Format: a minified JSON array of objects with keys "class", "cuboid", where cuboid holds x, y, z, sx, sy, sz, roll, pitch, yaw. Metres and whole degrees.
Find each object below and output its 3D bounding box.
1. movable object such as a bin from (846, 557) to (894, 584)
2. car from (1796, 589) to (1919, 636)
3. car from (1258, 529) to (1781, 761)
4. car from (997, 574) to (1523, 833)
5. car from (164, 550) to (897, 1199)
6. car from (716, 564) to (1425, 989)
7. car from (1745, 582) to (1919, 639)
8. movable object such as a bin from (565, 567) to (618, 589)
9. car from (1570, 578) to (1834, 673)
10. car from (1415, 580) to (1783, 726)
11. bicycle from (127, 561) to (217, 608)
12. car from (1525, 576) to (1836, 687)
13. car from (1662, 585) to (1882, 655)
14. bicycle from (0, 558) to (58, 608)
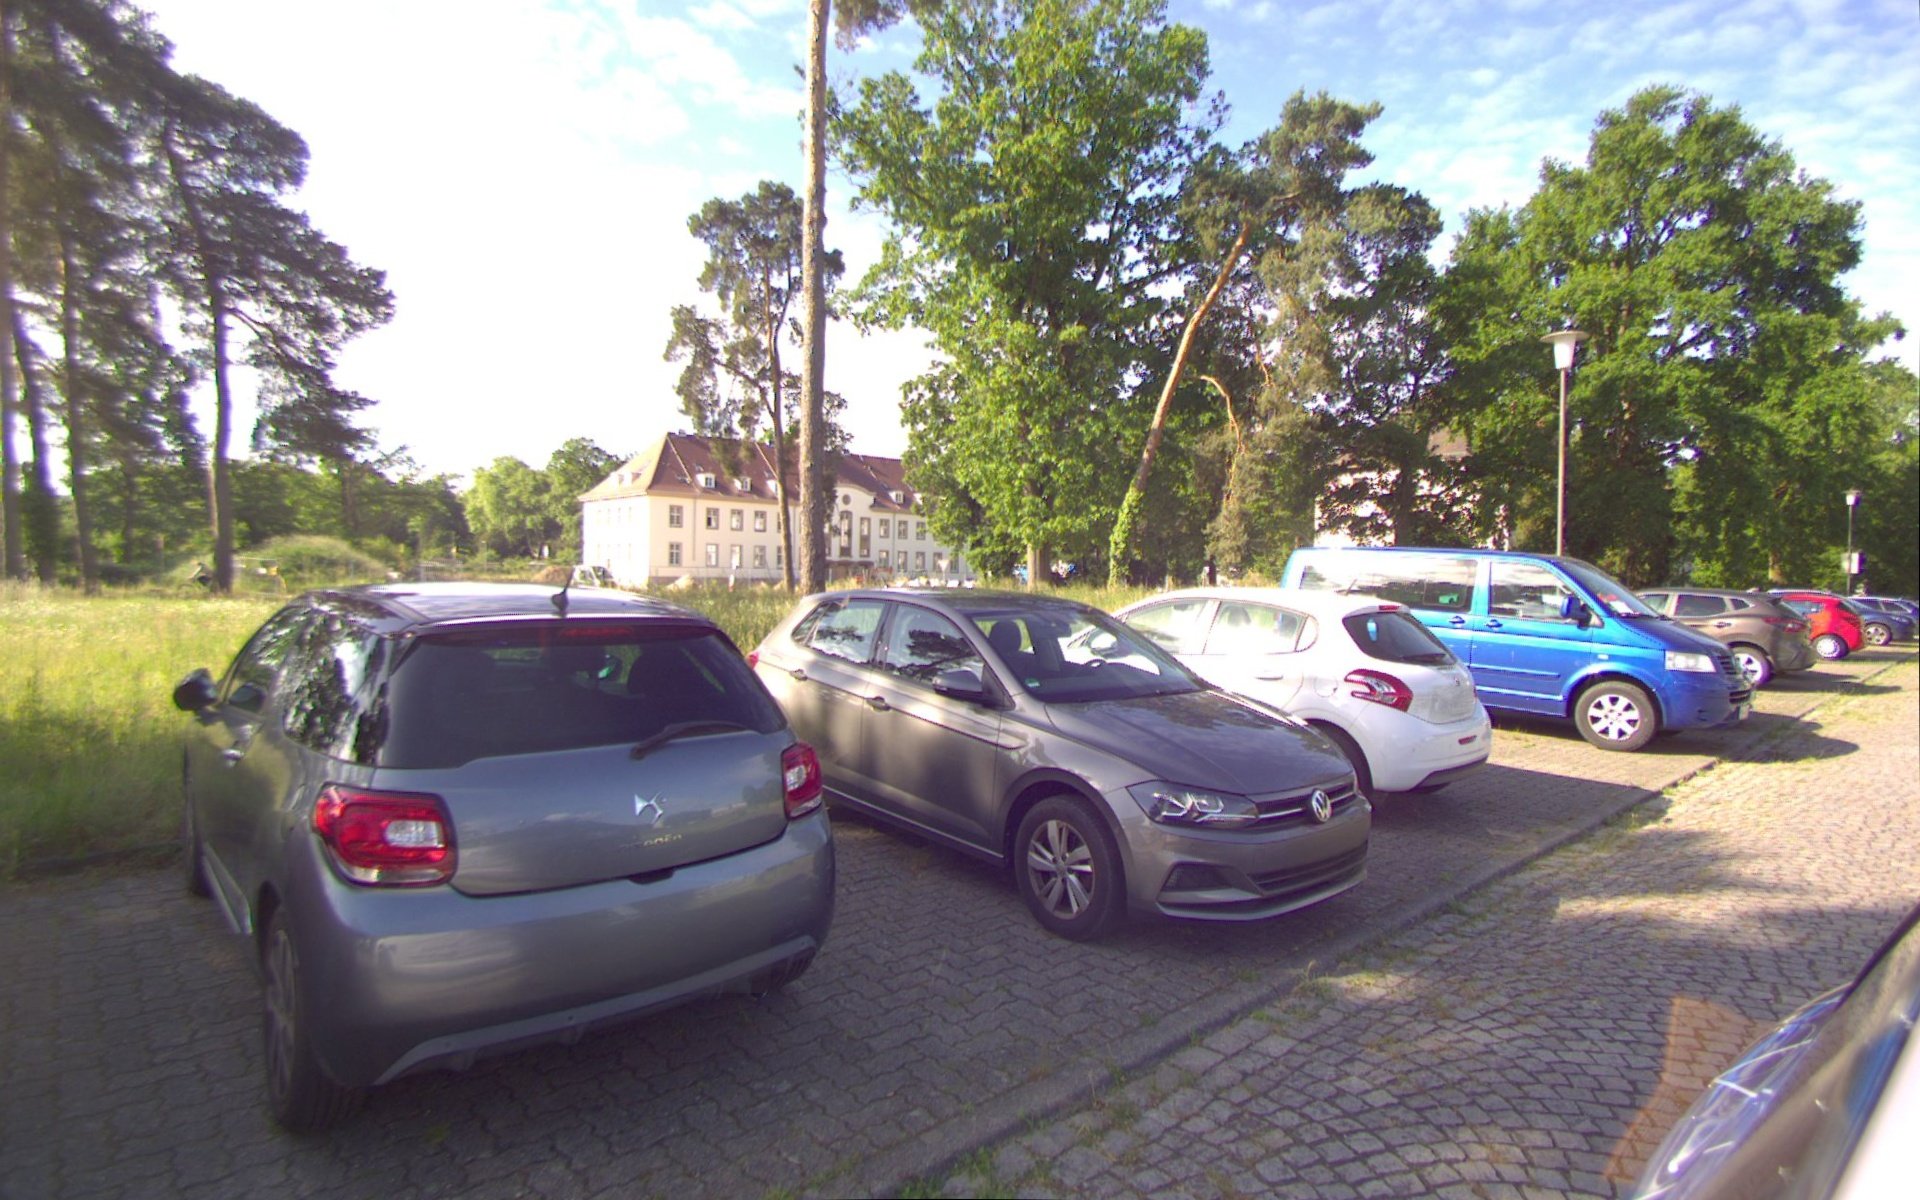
[{"class":"movable object such as a bin","cuboid":[-10.041,-3.275,113.088,4.977,2.937,2.181,0,1,-36]},{"class":"car","cuboid":[30.844,0.386,34.169,1.717,1.484,3.806,0,1,-41]},{"class":"car","cuboid":[6.062,0.276,11.494,1.966,2.038,4.763,0,3,-42]},{"class":"car","cuboid":[2.138,0.576,7.938,1.606,1.510,3.651,0,2,-42]},{"class":"car","cuboid":[-2.056,0.590,4.143,1.638,1.472,3.669,0,3,-42]},{"class":"car","cuboid":[0.311,0.591,5.684,1.727,1.468,3.789,0,3,-41]},{"class":"car","cuboid":[27.114,0.262,31.297,1.623,1.618,4.268,0,1,-43]},{"class":"movable object such as a bin","cuboid":[-35.186,-2.098,96.500,5.708,2.038,2.094,2,2,38]},{"class":"car","cuboid":[14.210,0.407,19.550,1.674,1.557,3.832,0,2,-42]},{"class":"car","cuboid":[8.110,0.552,13.077,1.583,1.485,3.723,0,3,-44]},{"class":"bicycle","cuboid":[-35.469,-0.737,45.610,3.080,2.038,0.951,-3,3,-44]},{"class":"car","cuboid":[12.332,0.437,17.508,1.757,1.631,4.111,0,2,-44]},{"class":"car","cuboid":[19.591,0.419,24.537,1.514,1.514,3.992,0,1,-43]},{"class":"bicycle","cuboid":[-39.935,-0.711,42.420,3.080,2.038,0.951,-3,3,-44]}]
